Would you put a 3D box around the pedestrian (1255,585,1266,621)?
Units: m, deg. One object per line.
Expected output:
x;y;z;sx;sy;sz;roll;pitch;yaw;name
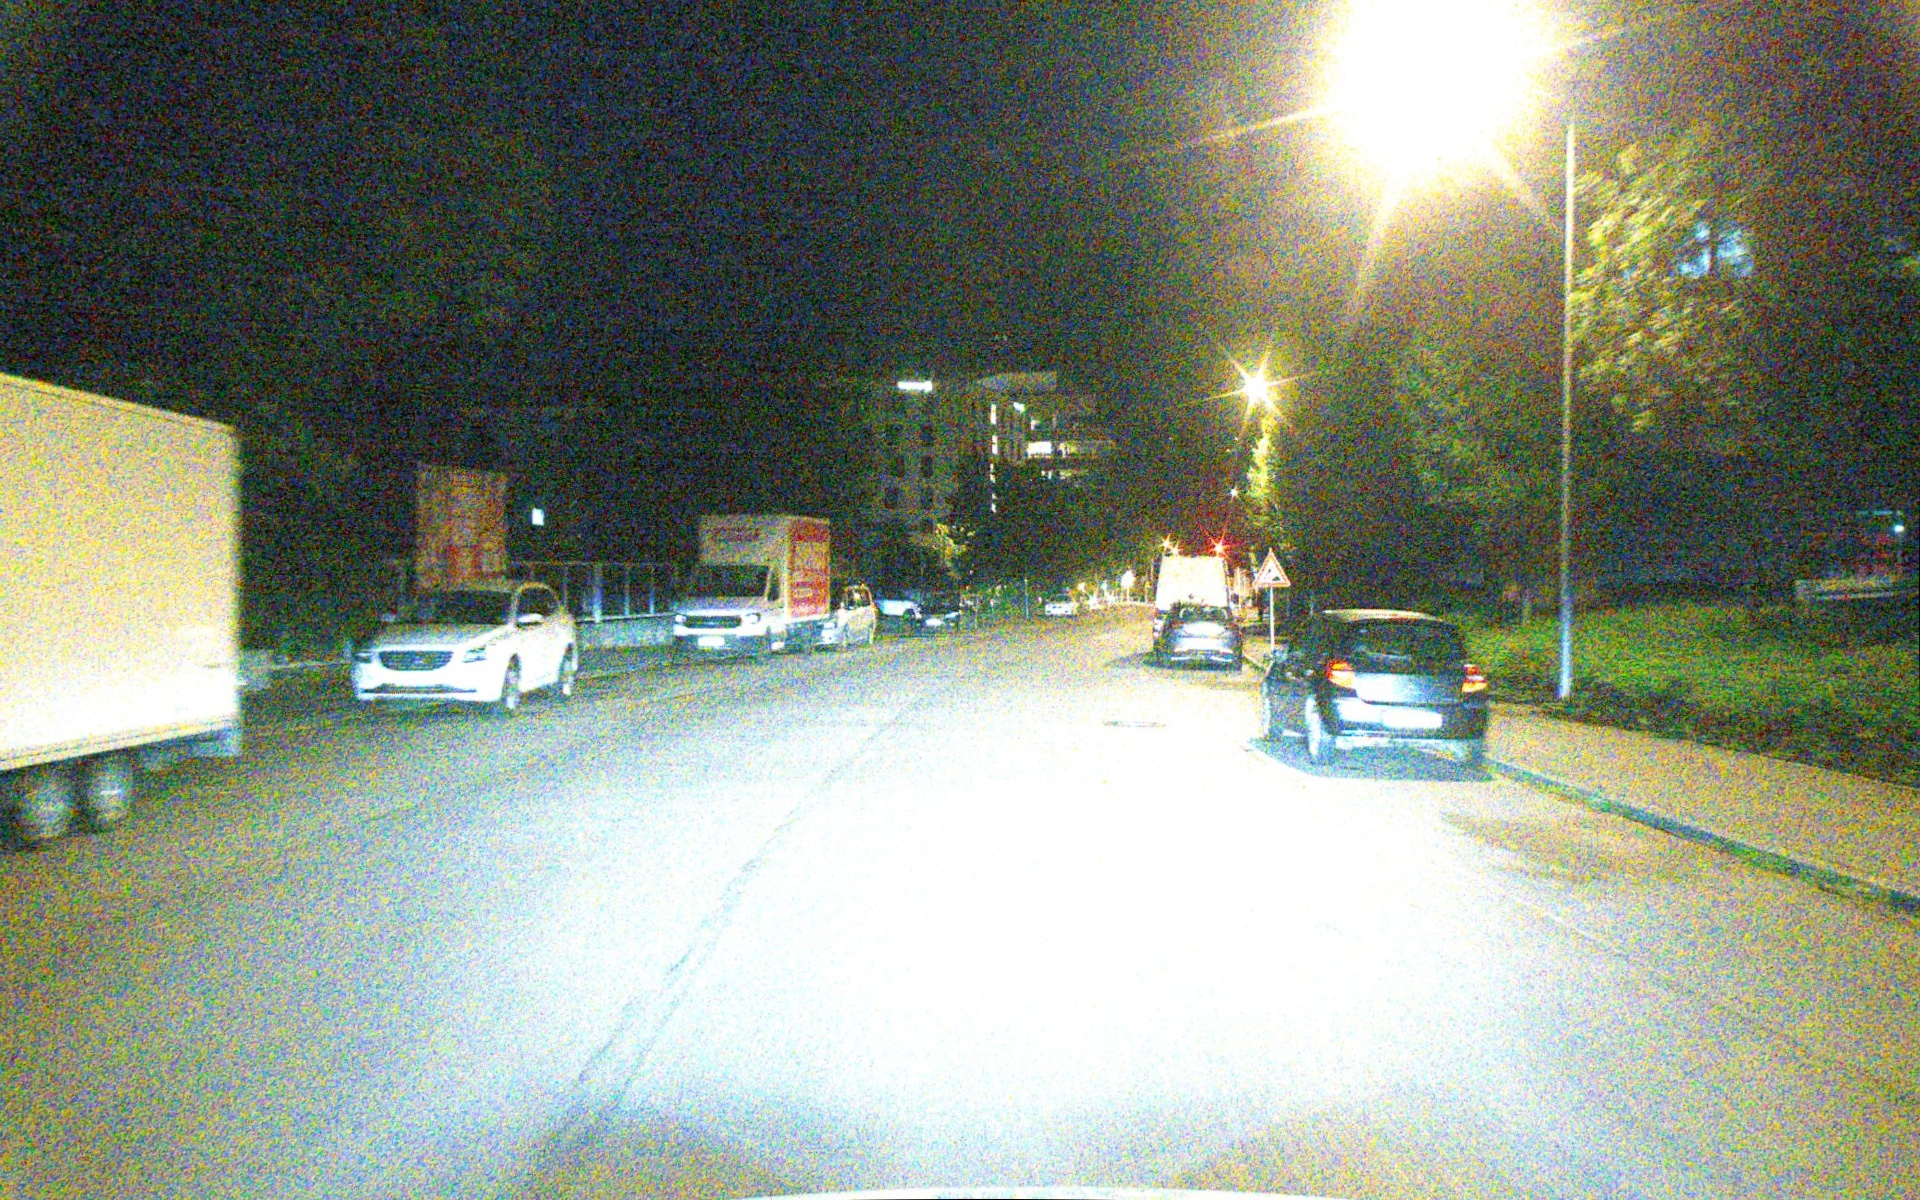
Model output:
15.725;0.162;86.444;0.558;1.885;0.821;0;0;11;pedestrian

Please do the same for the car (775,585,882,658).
-3.458;0.533;44.401;1.790;1.848;4.842;-1;0;9;car

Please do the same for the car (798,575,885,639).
-4.672;0.258;65.753;1.951;2.362;4.970;-2;0;14;car

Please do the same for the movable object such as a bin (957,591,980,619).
0.455;0.268;89.207;1.139;1.522;1.066;0;0;7;movable object such as a bin

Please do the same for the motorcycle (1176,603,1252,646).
7.458;0.706;48.596;2.146;1.204;0.764;1;0;42;motorcycle

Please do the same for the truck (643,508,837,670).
-4.839;-0.239;37.957;2.489;3.338;7.318;0;0;8;truck

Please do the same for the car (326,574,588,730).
-6.342;0.590;21.452;1.953;1.803;4.692;0;0;0;car

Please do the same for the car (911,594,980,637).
-0.498;0.587;62.496;1.717;1.553;4.326;1;-1;12;car

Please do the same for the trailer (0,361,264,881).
-6.346;0.112;10.254;2.160;2.844;4.615;0;0;-1;trailer

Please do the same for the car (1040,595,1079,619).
6.143;0.399;101.812;1.870;1.428;4.342;-1;0;11;car

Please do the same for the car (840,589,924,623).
-3.898;0.307;83.202;3.902;1.598;1.819;-1;0;10;car

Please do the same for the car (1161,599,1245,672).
5.412;0.744;37.217;1.674;1.534;4.643;0;0;6;car

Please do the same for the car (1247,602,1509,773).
4.225;0.816;17.333;1.676;1.534;3.999;1;0;-1;car

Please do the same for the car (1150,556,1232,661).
6.263;0.198;44.281;1.977;2.571;6.057;1;0;9;car
